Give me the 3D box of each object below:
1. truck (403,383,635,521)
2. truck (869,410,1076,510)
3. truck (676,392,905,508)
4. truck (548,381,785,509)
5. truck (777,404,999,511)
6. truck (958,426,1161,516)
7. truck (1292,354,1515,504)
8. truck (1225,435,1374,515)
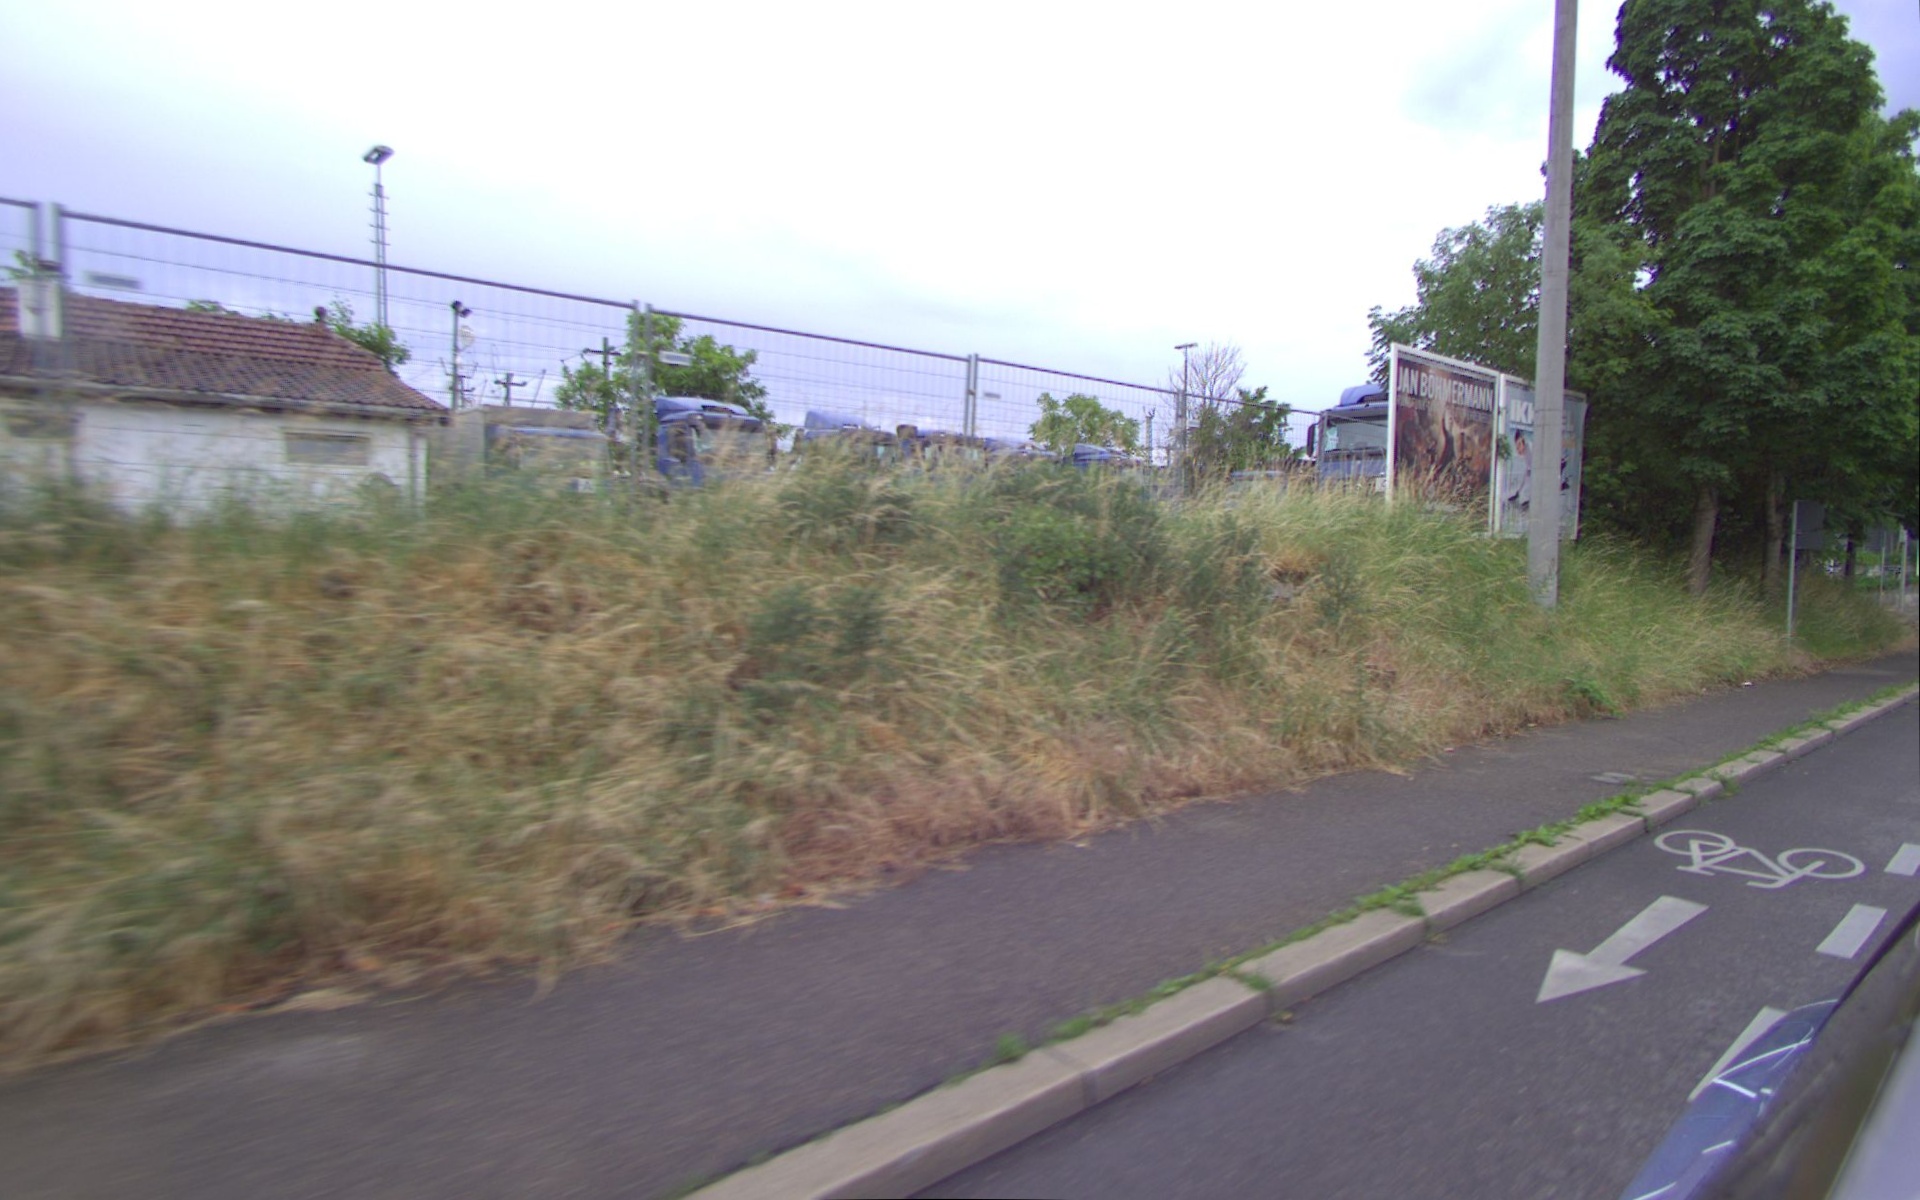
[{"bbox_3d":[-10.715,-3.248,24.080,2.587,2.649,8.013,-3,5,-42],"label":"truck"},{"bbox_3d":[0.223,-4.615,34.798,2.544,2.890,7.722,-3,5,-42],"label":"truck"},{"bbox_3d":[-5.111,-4.086,29.142,2.544,2.686,8.103,-3,5,-42],"label":"truck"},{"bbox_3d":[-7.926,-3.798,26.444,2.544,2.648,8.310,-3,5,-42],"label":"truck"},{"bbox_3d":[-2.495,-4.289,31.831,2.544,2.771,8.017,-3,5,-42],"label":"truck"},{"bbox_3d":[3.462,-4.576,37.221,2.544,2.848,7.749,-3,5,-42],"label":"truck"},{"bbox_3d":[10.478,-3.793,23.632,5.948,2.684,2.288,-3,-1,-41],"label":"truck"},{"bbox_3d":[16.301,-5.784,48.143,9.477,3.235,2.254,-3,3,-41],"label":"truck"}]
